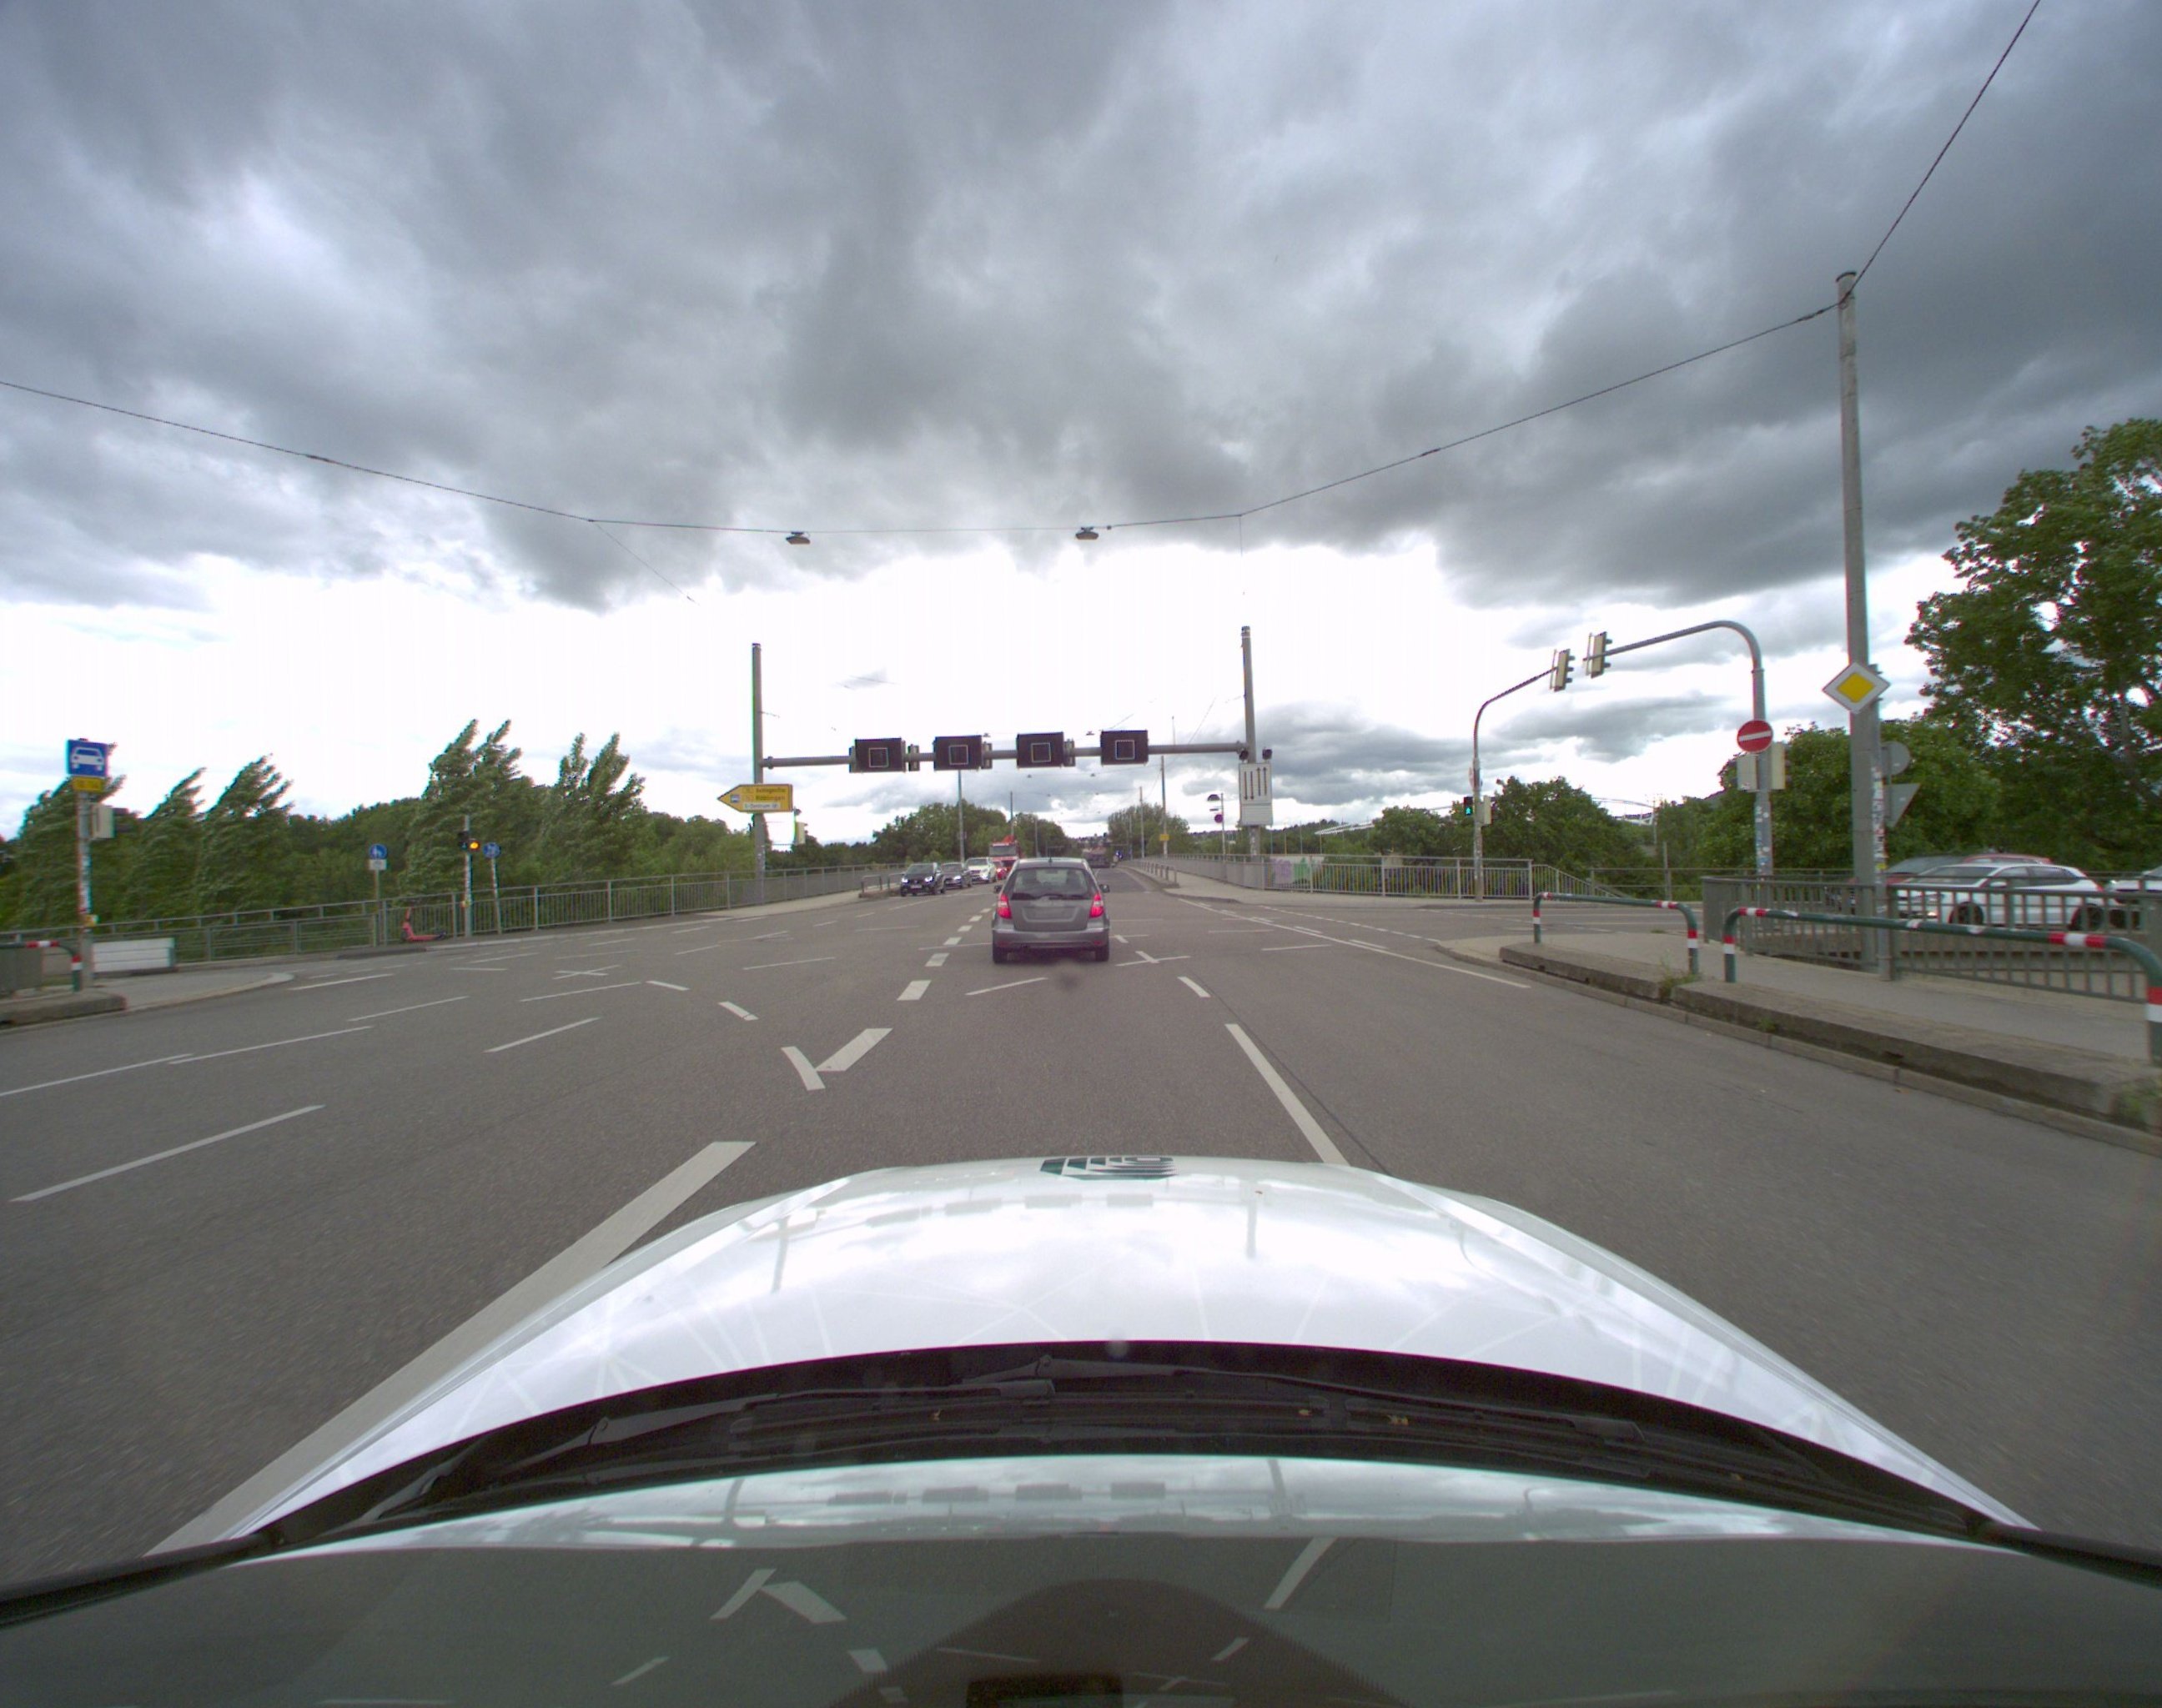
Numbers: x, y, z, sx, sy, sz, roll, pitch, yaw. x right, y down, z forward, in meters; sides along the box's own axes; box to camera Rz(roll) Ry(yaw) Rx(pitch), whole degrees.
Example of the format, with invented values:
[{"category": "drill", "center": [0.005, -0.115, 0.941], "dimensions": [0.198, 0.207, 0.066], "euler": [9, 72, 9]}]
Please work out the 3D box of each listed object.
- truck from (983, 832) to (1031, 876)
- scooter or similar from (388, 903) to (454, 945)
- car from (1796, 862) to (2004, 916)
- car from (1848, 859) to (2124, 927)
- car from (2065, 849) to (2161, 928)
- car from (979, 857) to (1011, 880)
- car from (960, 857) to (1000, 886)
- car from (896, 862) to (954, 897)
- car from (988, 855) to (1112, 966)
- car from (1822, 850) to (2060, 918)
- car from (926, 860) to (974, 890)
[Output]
[{"category": "truck", "center": [-6.513, 0.010, 73.550], "dimensions": [2.995, 3.565, 9.984], "euler": [-3, 0, 1]}, {"category": "scooter or similar", "center": [-18.738, 1.980, 23.129], "dimensions": [1.330, 1.056, 0.484], "euler": [-4, 0, -7]}, {"category": "car", "center": [22.586, 0.965, 22.557], "dimensions": [4.128, 1.421, 1.694], "euler": [0, -2, -2]}, {"category": "car", "center": [18.527, 0.782, 16.799], "dimensions": [3.741, 1.313, 1.790], "euler": [0, -2, -1]}, {"category": "car", "center": [24.314, 0.736, 17.318], "dimensions": [4.313, 1.619, 2.000], "euler": [0, -2, 0]}, {"category": "car", "center": [-6.574, 1.083, 62.726], "dimensions": [1.873, 1.603, 4.016], "euler": [-3, 0, 1]}, {"category": "car", "center": [-6.693, 1.095, 54.211], "dimensions": [1.873, 1.761, 4.804], "euler": [-3, 0, 1]}, {"category": "car", "center": [-7.521, 1.189, 39.645], "dimensions": [1.828, 1.504, 3.874], "euler": [-3, 0, 3]}, {"category": "car", "center": [-0.406, 0.816, 13.560], "dimensions": [1.739, 1.550, 3.872], "euler": [-1, 0, 1]}, {"category": "car", "center": [20.554, 0.715, 19.578], "dimensions": [3.983, 1.540, 1.695], "euler": [0, -2, -1]}, {"category": "car", "center": [-7.317, 1.140, 45.879], "dimensions": [1.829, 1.504, 4.518], "euler": [-3, 0, 1]}]
